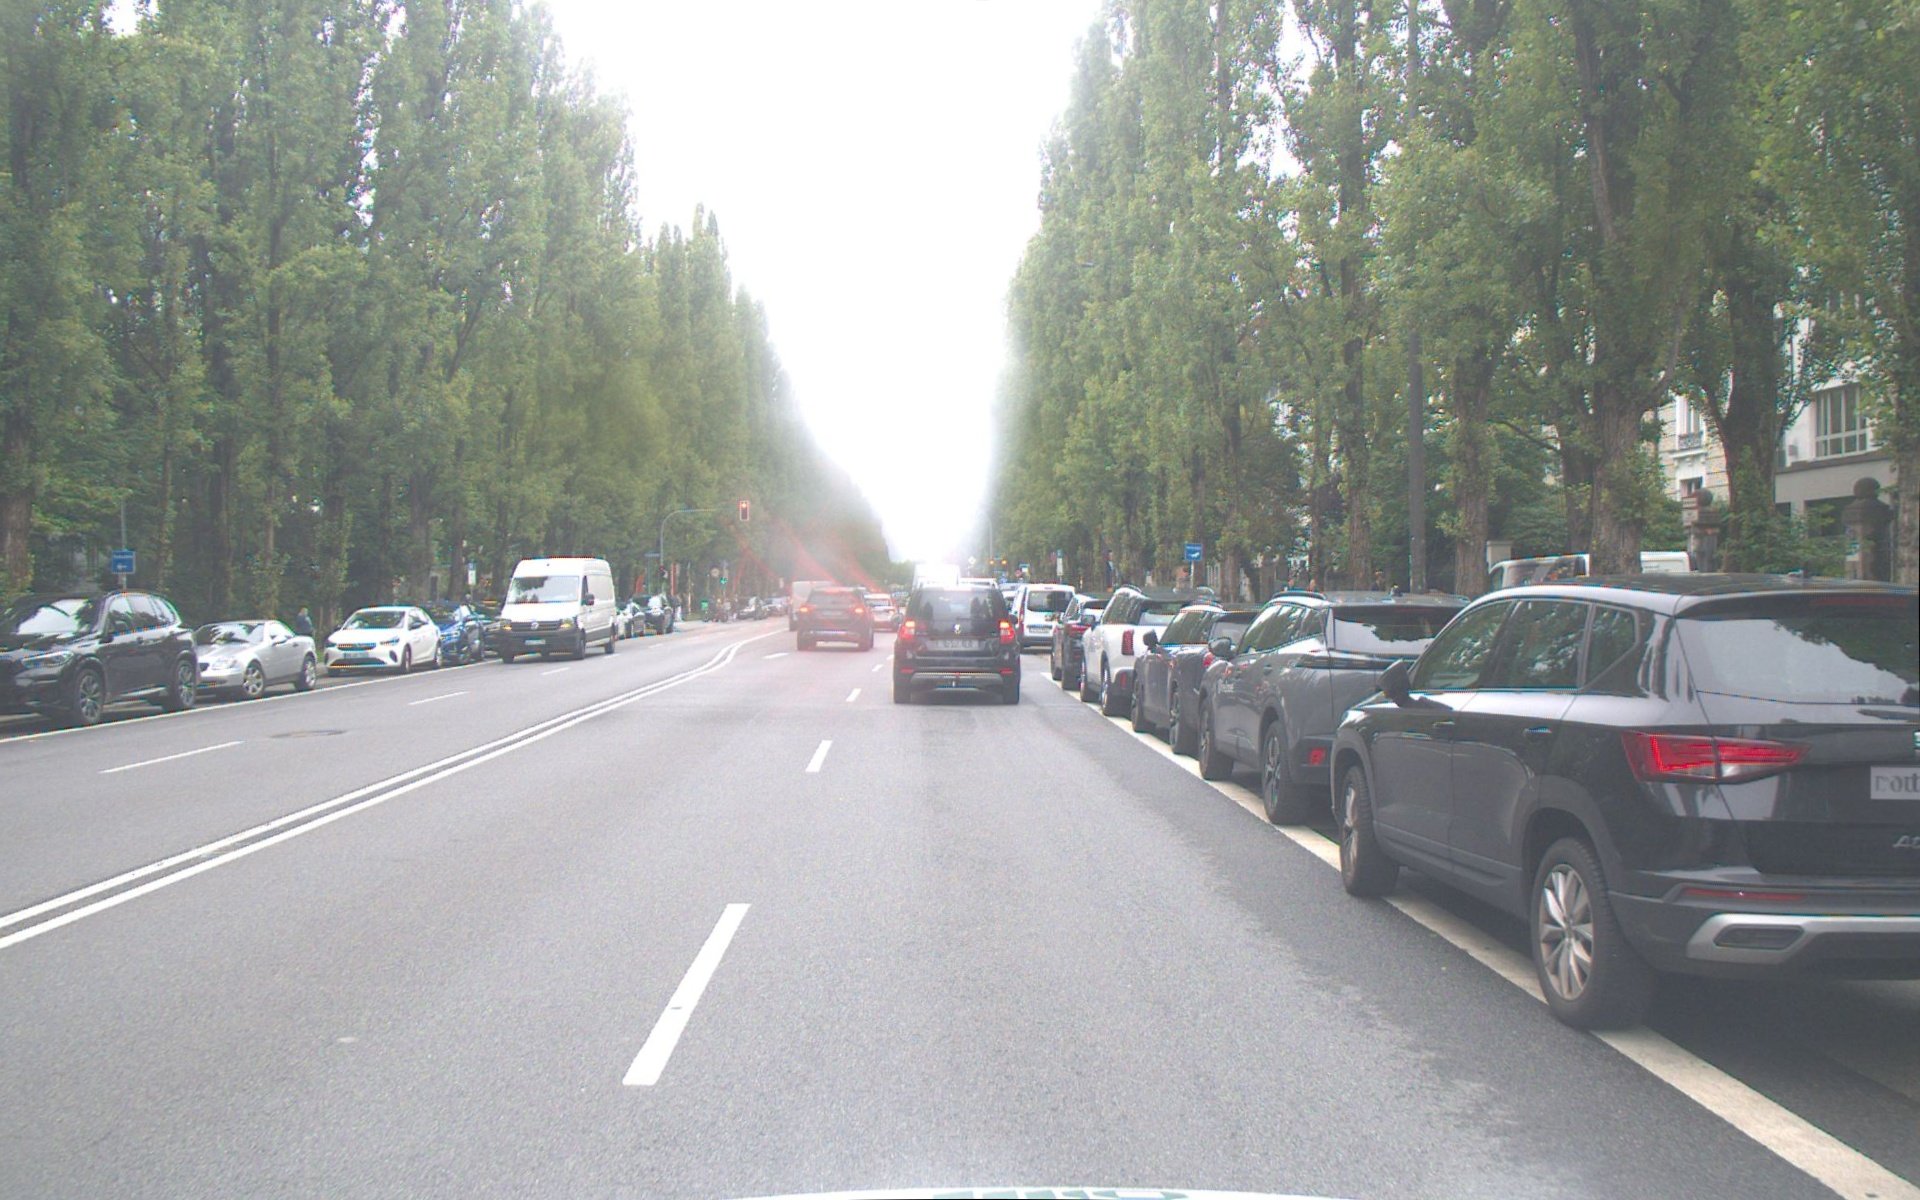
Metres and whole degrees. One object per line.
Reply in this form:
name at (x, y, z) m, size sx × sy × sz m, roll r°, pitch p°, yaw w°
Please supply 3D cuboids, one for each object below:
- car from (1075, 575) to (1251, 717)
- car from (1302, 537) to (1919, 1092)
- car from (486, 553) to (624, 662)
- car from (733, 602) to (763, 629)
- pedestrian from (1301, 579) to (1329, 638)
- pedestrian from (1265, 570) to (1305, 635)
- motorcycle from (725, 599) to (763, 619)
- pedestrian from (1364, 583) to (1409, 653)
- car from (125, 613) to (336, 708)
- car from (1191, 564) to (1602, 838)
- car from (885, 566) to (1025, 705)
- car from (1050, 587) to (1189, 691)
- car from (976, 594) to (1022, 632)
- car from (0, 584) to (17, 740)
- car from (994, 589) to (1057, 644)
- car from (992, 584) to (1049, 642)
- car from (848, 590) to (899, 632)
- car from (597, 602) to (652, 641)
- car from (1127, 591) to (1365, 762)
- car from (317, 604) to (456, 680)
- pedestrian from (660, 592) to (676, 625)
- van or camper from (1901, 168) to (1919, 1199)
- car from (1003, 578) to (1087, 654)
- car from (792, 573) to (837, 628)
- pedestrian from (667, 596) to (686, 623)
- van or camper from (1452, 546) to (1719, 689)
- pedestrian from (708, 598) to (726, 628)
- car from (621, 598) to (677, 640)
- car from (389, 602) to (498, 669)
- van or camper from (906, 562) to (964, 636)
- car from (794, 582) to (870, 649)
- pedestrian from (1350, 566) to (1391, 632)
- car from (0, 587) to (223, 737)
car at (2.621, 0.535, 22.348) m, size 1.707 × 1.705 × 4.578 m, roll -1°, pitch 0°, yaw -1°
car at (2.957, 0.626, 7.282) m, size 1.749 × 1.677 × 4.415 m, roll -1°, pitch 0°, yaw -3°
car at (-10.436, 0.164, 43.193) m, size 2.184 × 2.526 × 6.754 m, roll -2°, pitch 0°, yaw -3°
car at (-14.619, 1.044, 113.993) m, size 1.654 × 1.814 × 3.774 m, roll -1°, pitch 0°, yaw -1°
pedestrian at (9.741, 0.236, 45.397) m, size 0.556 × 1.606 × 0.867 m, roll -1°, pitch 0°, yaw -2°
pedestrian at (8.885, 0.064, 45.240) m, size 0.836 × 1.747 × 0.867 m, roll -2°, pitch 0°, yaw -2°
motorcycle at (-13.772, 0.565, 105.518) m, size 2.315 × 1.292 × 0.930 m, roll 0°, pitch 0°, yaw -1°
pedestrian at (11.540, 0.473, 44.748) m, size 0.889 × 1.831 × 0.825 m, roll -1°, pitch 3°, yaw -22°
car at (-12.362, 0.971, 28.345) m, size 1.790 × 1.357 × 4.232 m, roll -3°, pitch 0°, yaw -2°
car at (2.987, 0.594, 12.397) m, size 1.748 × 1.646 × 4.636 m, roll -1°, pitch 0°, yaw -1°
car at (-0.105, 0.468, 23.992) m, size 1.818 × 1.801 × 3.999 m, roll 1°, pitch 0°, yaw -1°
car at (2.587, 0.584, 27.775) m, size 1.842 × 1.567 × 4.463 m, roll -1°, pitch 0°, yaw -1°
car at (1.586, 0.531, 68.453) m, size 1.700 × 1.501 × 3.561 m, roll -1°, pitch 0°, yaw -1°
car at (-12.055, 0.782, 16.921) m, size 1.871 × 1.820 × 5.178 m, roll -3°, pitch 0°, yaw -2°
car at (2.019, 0.482, 51.790) m, size 1.706 × 1.620 × 4.210 m, roll -1°, pitch 0°, yaw -1°
car at (2.052, 0.417, 57.088) m, size 1.700 × 1.928 × 4.024 m, roll -1°, pitch 0°, yaw -1°
car at (-3.417, 0.410, 66.095) m, size 1.953 × 1.588 × 3.998 m, roll -1°, pitch 1°, yaw -2°
car at (-13.671, 0.853, 67.537) m, size 1.591 × 1.413 × 4.164 m, roll -3°, pitch 0°, yaw -4°
car at (2.860, 0.697, 17.422) m, size 1.668 × 1.546 × 4.294 m, roll -1°, pitch 0°, yaw -1°
car at (-12.783, 0.895, 37.122) m, size 1.735 × 1.477 × 4.231 m, roll -3°, pitch 0°, yaw -3°
pedestrian at (-14.122, 0.418, 79.895) m, size 0.647 × 1.605 × 0.530 m, roll -1°, pitch 0°, yaw -1°
van or camper at (3.510, 0.226, 0.990) m, size 2.095 × 2.584 × 6.415 m, roll 0°, pitch 0°, yaw -2°
car at (2.234, 0.395, 44.608) m, size 1.814 × 1.914 × 4.165 m, roll -1°, pitch 0°, yaw -3°
car at (-5.880, 0.003, 66.999) m, size 1.746 × 2.148 × 4.021 m, roll 0°, pitch 0°, yaw -4°
pedestrian at (-17.872, 0.576, 104.261) m, size 0.874 × 1.684 × 0.866 m, roll -1°, pitch 0°, yaw -39°
van or camper at (9.455, 0.229, 25.570) m, size 2.034 × 1.967 × 5.367 m, roll 0°, pitch 0°, yaw -1°
pedestrian at (-15.003, 0.799, 101.947) m, size 0.950 × 1.798 × 0.677 m, roll -1°, pitch 0°, yaw -23°
car at (-13.759, 0.824, 73.485) m, size 1.812 × 1.683 × 4.692 m, roll -3°, pitch 0°, yaw -4°
car at (-12.803, 0.848, 41.198) m, size 1.675 × 1.476 × 3.584 m, roll -3°, pitch 0°, yaw -3°
van or camper at (-0.945, -0.060, 60.667) m, size 1.936 × 2.593 × 4.022 m, roll -1°, pitch 0°, yaw -3°
car at (-3.372, 0.381, 44.061) m, size 1.745 × 1.648 × 4.024 m, roll -2°, pitch 0°, yaw -1°
pedestrian at (11.379, -0.029, 45.859) m, size 0.787 × 1.813 × 0.817 m, roll -1°, pitch 0°, yaw -19°
car at (-12.119, 0.782, 22.739) m, size 1.902 × 1.798 × 4.893 m, roll -3°, pitch 0°, yaw -3°
